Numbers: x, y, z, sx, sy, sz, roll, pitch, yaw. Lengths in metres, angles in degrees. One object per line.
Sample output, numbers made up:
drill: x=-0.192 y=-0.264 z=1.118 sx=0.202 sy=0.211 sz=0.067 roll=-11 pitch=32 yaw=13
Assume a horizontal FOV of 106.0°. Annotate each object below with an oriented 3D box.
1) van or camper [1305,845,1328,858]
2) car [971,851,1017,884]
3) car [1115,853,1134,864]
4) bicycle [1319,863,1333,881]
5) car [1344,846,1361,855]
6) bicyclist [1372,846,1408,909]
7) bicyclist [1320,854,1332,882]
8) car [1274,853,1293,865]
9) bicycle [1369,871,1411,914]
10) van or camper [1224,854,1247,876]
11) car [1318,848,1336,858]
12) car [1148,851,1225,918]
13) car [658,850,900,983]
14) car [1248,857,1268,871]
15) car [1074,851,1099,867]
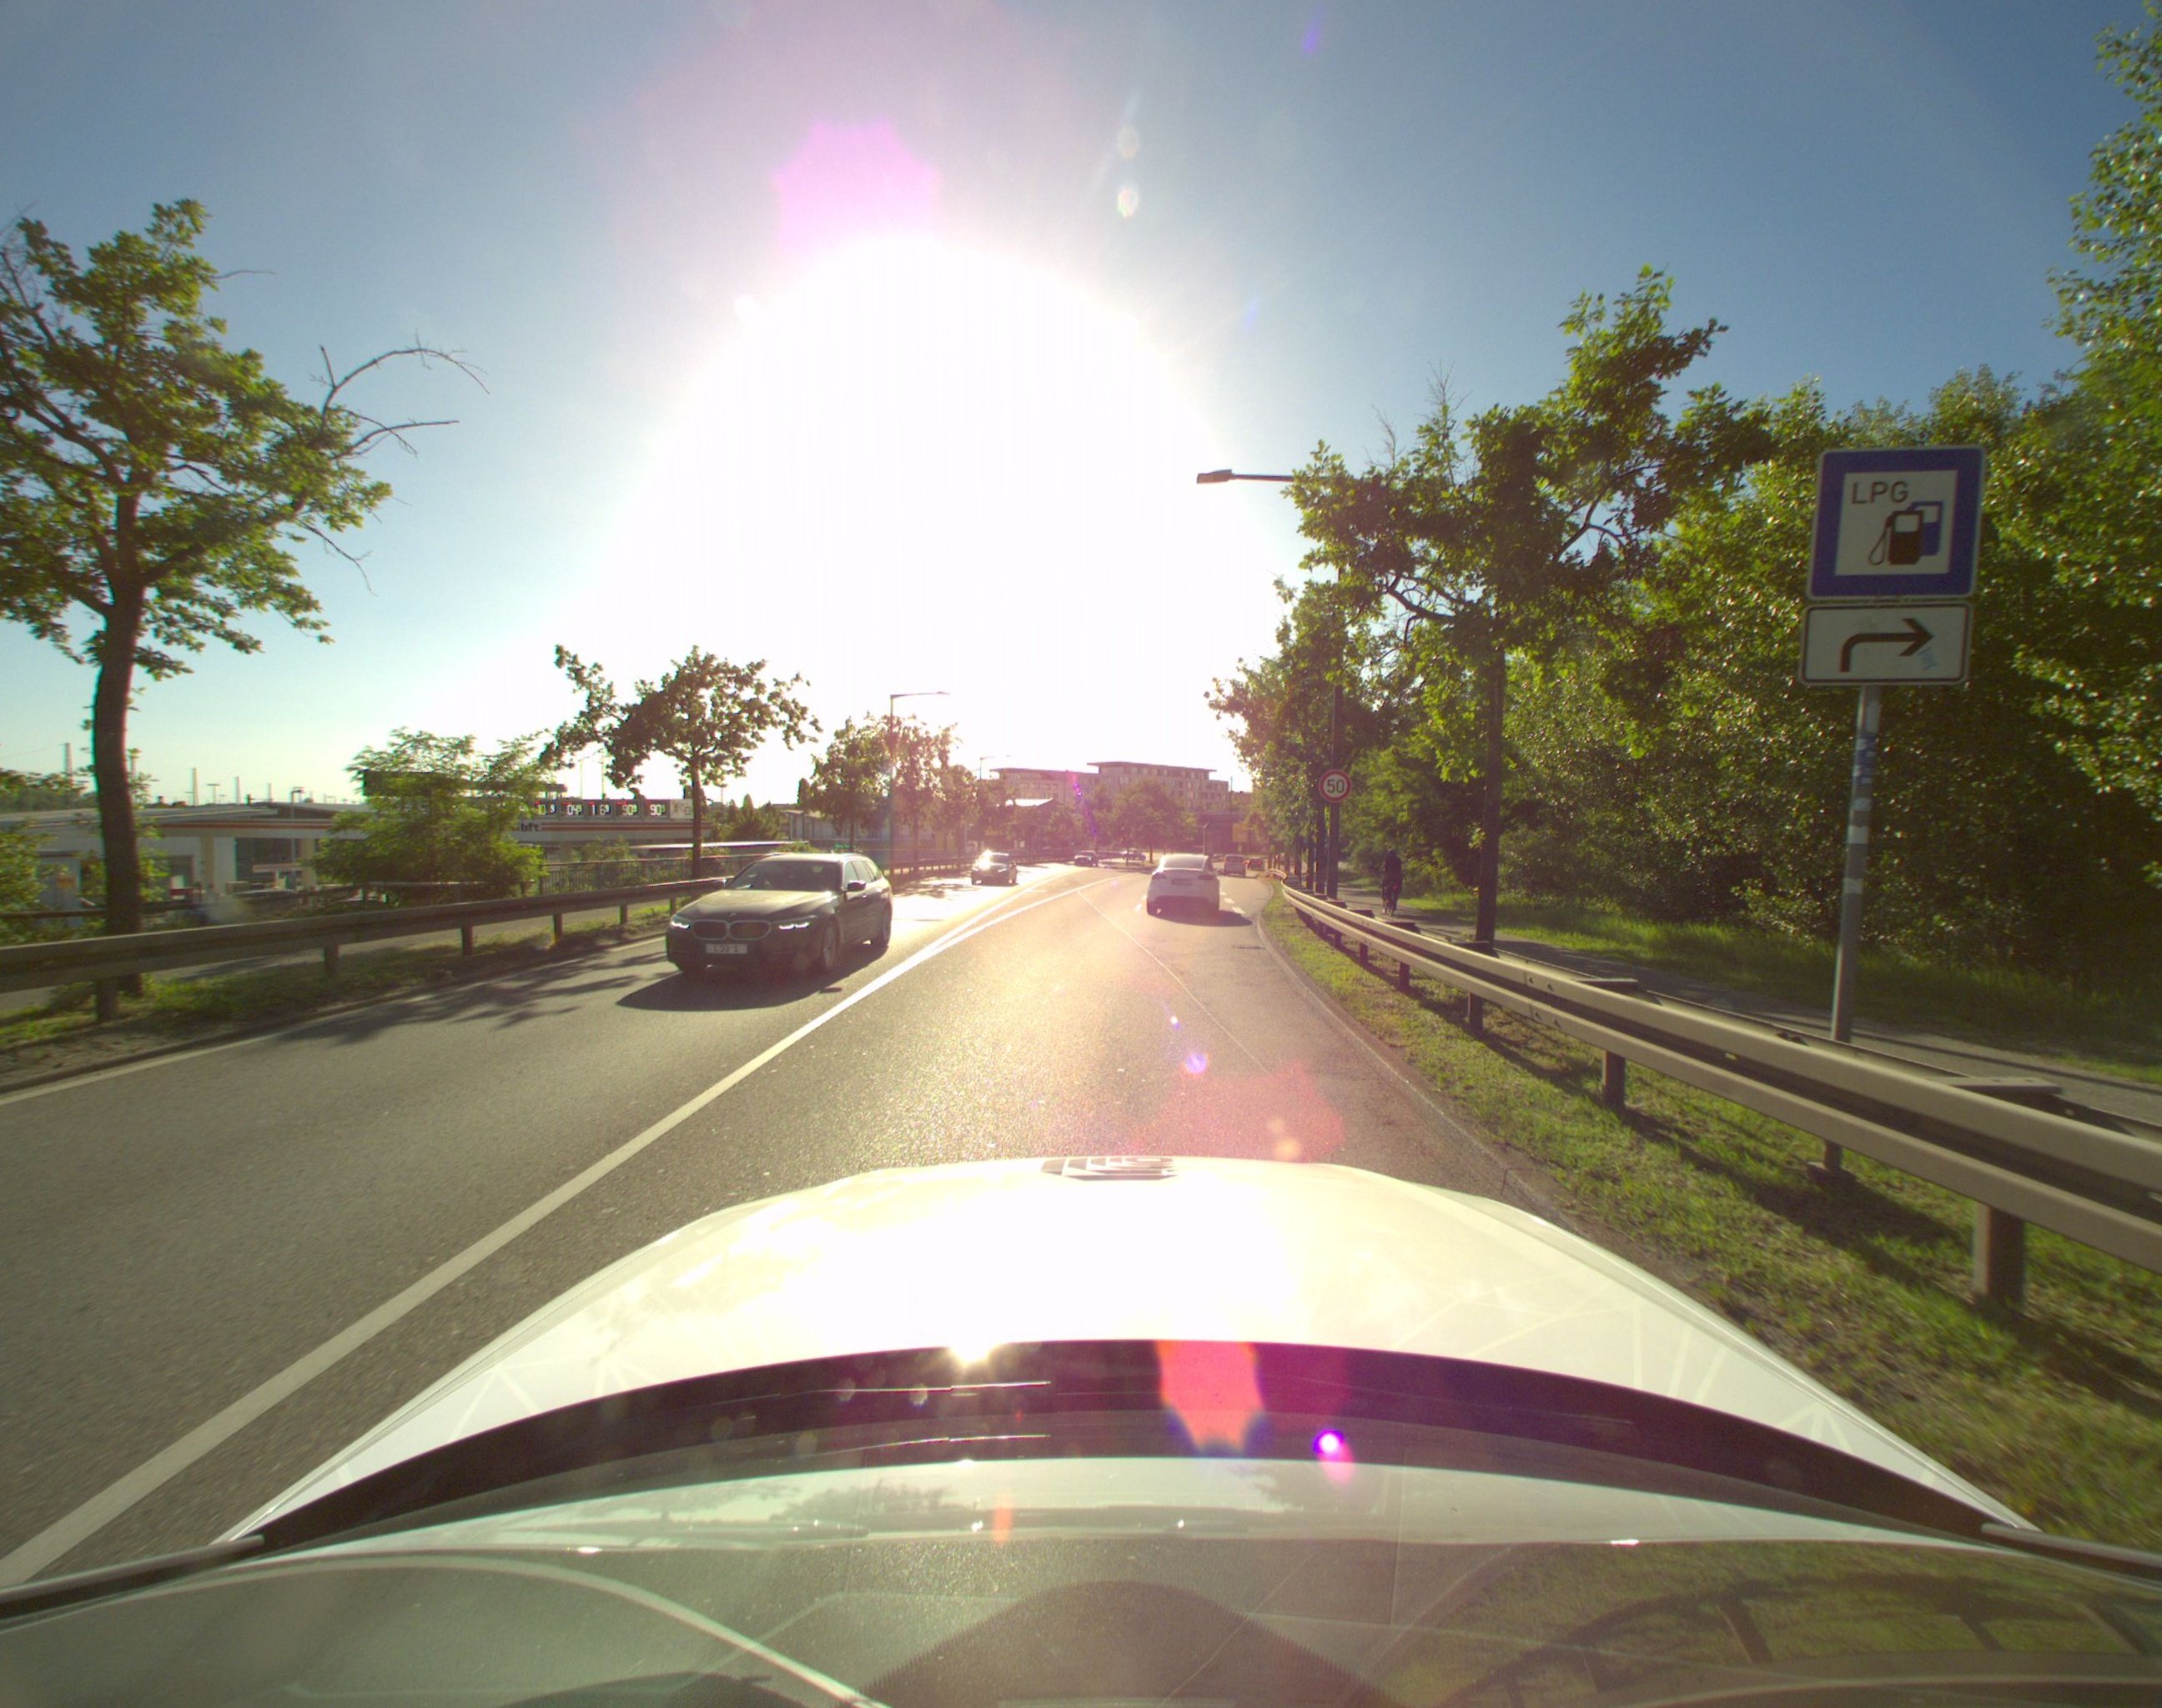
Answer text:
van or camper: x=36.415 y=-0.420 z=125.842 sx=1.808 sy=1.790 sz=4.573 roll=3 pitch=3 yaw=38
car: x=-4.062 y=0.605 z=38.688 sx=1.658 sy=1.445 sz=3.851 roll=0 pitch=0 yaw=2
car: x=5.903 y=0.562 z=109.610 sx=1.718 sy=1.385 sz=4.512 roll=2 pitch=1 yaw=13
bicycle: x=15.640 y=1.158 z=51.919 sx=0.689 sy=1.095 sz=2.129 roll=-1 pitch=0 yaw=21
car: x=48.902 y=-0.660 z=146.889 sx=1.692 sy=1.522 sz=3.766 roll=3 pitch=2 yaw=38
bicyclist: x=7.946 y=0.580 z=20.964 sx=0.703 sy=1.578 sz=1.008 roll=-1 pitch=0 yaw=11
bicyclist: x=15.611 y=0.865 z=51.928 sx=0.669 sy=1.776 sz=0.953 roll=-1 pitch=0 yaw=20
car: x=27.512 y=0.680 z=110.644 sx=1.747 sy=1.475 sz=4.314 roll=2 pitch=2 yaw=25
bicycle: x=7.967 y=0.976 z=21.048 sx=0.696 sy=1.074 sz=1.927 roll=-1 pitch=-2 yaw=12
van or camper: x=13.736 y=0.964 z=72.360 sx=1.946 sy=1.884 sz=4.894 roll=0 pitch=0 yaw=11
car: x=43.896 y=-0.186 z=145.428 sx=1.692 sy=1.522 sz=3.766 roll=3 pitch=3 yaw=40
car: x=2.960 y=0.773 z=22.821 sx=1.903 sy=1.640 sz=4.420 roll=-1 pitch=0 yaw=8
car: x=-3.963 y=0.709 z=11.576 sx=1.803 sy=1.496 sz=4.368 roll=-1 pitch=0 yaw=0
car: x=20.349 y=1.115 z=93.411 sx=1.590 sy=1.434 sz=3.699 roll=2 pitch=3 yaw=22
car: x=0.594 y=0.486 z=82.202 sx=1.751 sy=1.489 sz=4.289 roll=2 pitch=0 yaw=10
